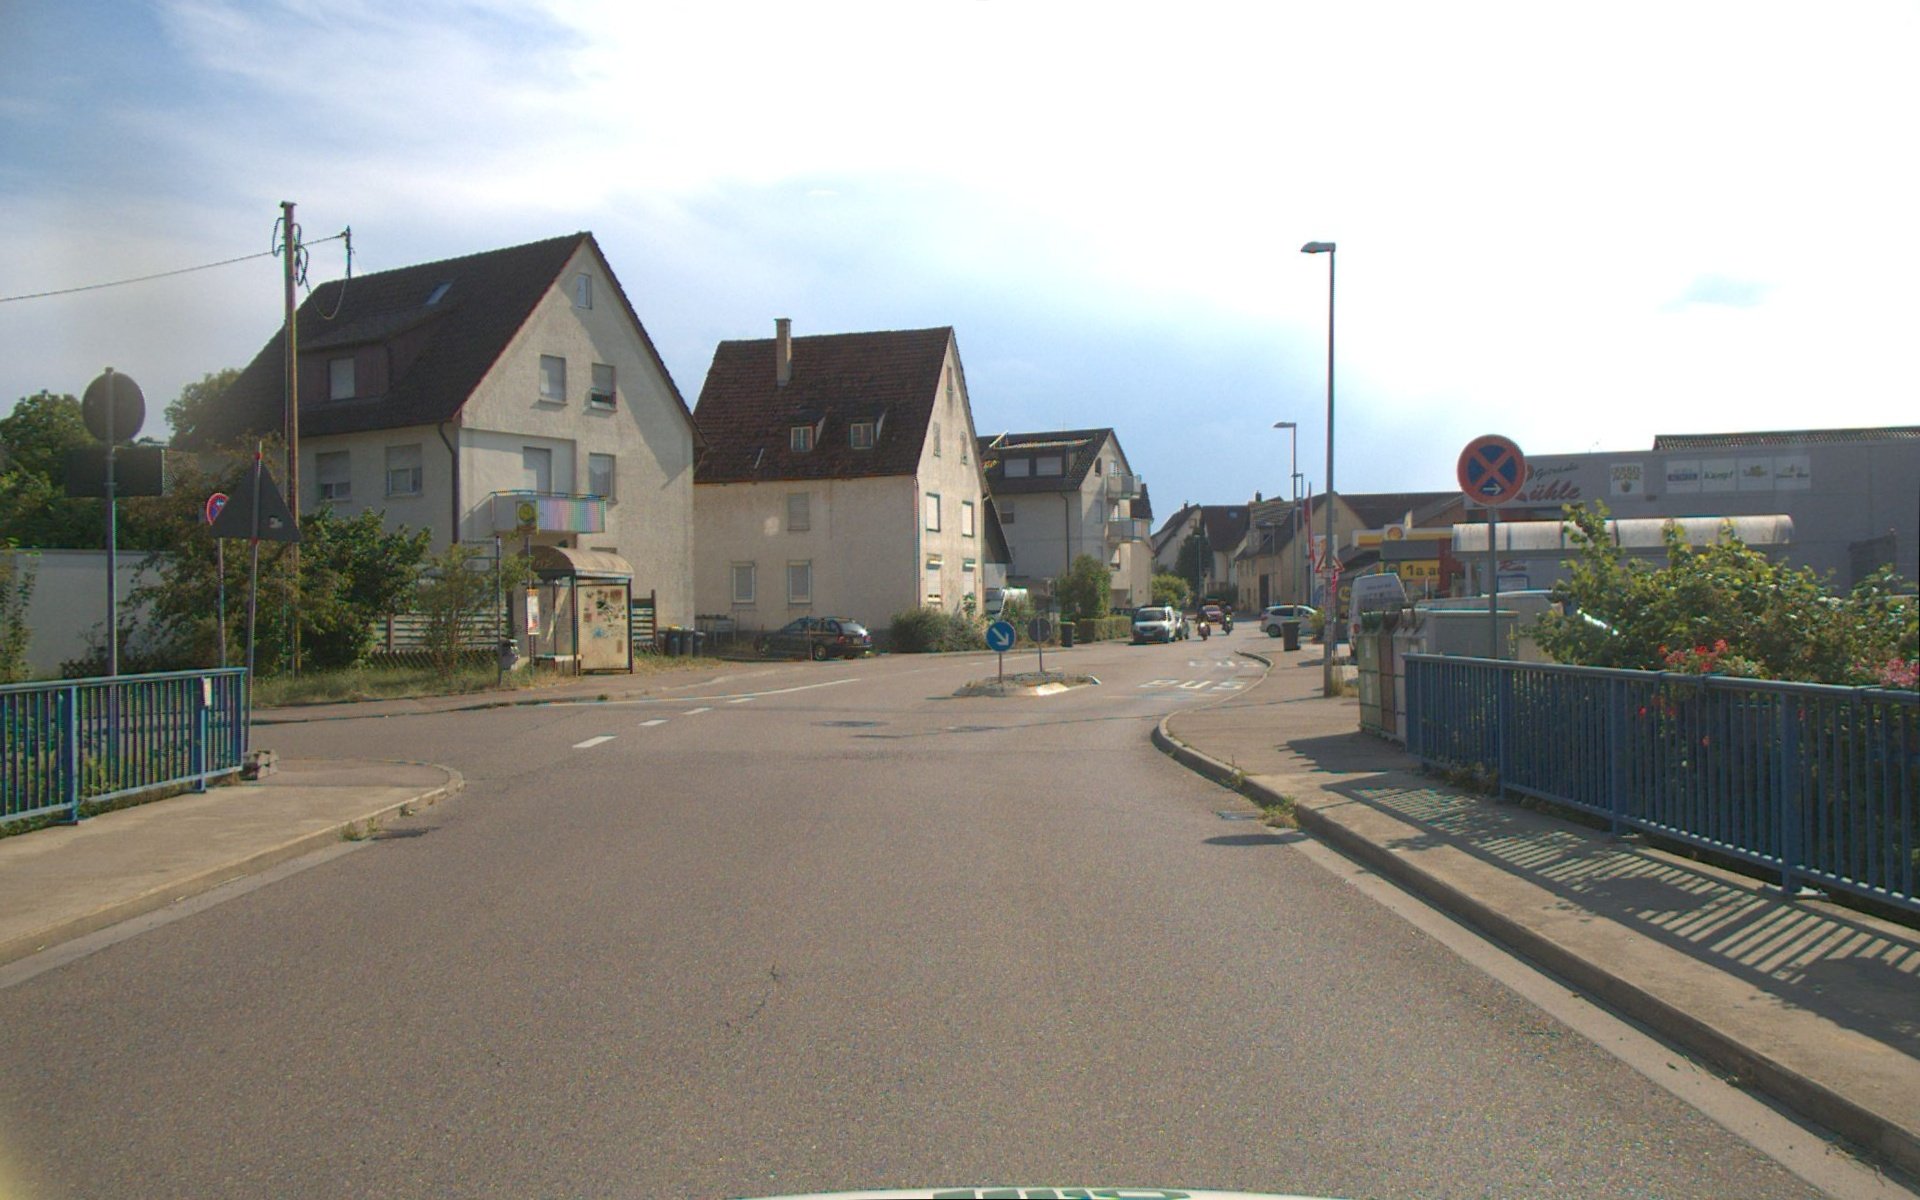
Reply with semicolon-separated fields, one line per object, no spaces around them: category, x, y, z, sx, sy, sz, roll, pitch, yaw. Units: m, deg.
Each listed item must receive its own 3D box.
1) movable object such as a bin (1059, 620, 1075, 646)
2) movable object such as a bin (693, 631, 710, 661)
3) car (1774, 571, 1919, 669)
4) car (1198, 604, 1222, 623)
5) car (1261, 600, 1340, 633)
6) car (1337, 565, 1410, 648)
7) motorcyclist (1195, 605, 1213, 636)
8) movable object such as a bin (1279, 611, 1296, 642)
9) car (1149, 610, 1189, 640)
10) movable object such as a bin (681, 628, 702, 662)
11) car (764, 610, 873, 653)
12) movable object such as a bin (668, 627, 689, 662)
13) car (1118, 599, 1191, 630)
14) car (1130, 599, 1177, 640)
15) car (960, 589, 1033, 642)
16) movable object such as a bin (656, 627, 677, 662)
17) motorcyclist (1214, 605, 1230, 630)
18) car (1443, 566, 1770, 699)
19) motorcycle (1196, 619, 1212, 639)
movable object such as a bin;4.682;1.431;72.480;0.598;1.120;0.576;0;-1;14
movable object such as a bin;-7.998;1.422;51.228;0.354;0.941;0.399;-2;-2;30
car;14.907;0.298;26.207;3.365;1.441;1.499;-3;-2;19
car;19.824;1.072;131.223;1.672;1.460;3.783;-3;-1;7
car;17.684;0.863;85.869;3.902;1.636;2.002;-1;0;14
car;12.818;0.211;51.538;1.797;2.416;5.183;-2;-1;10
motorcyclist;12.407;1.049;84.059;0.720;1.553;1.017;2;-1;16
movable object such as a bin;11.843;0.948;59.773;0.555;1.094;0.573;-2;-1;9
car;11.064;1.285;87.394;1.637;1.477;3.837;-2;-1;14
movable object such as a bin;-8.244;1.377;50.764;0.354;1.041;0.576;-2;-2;30
car;-5.046;1.094;58.652;3.928;1.458;1.643;0;0;42
movable object such as a bin;-8.535;1.356;50.192;0.354;1.059;0.557;-2;-2;30
car;11.631;0.841;98.740;3.909;1.565;1.761;4;2;25
car;9.648;0.964;82.344;1.680;1.905;4.195;-2;-1;14
car;1.933;0.782;86.007;2.113;2.641;6.097;0;0;18
movable object such as a bin;-8.806;1.345;49.698;0.354;1.034;0.557;-2;-2;30
motorcyclist;15.150;1.014;95.585;0.785;1.462;1.037;0;-1;17
car;8.532;0.462;22.173;3.855;1.631;1.683;-2;-2;14
motorcycle;12.426;1.471;84.128;0.527;1.030;2.029;1;-1;16
